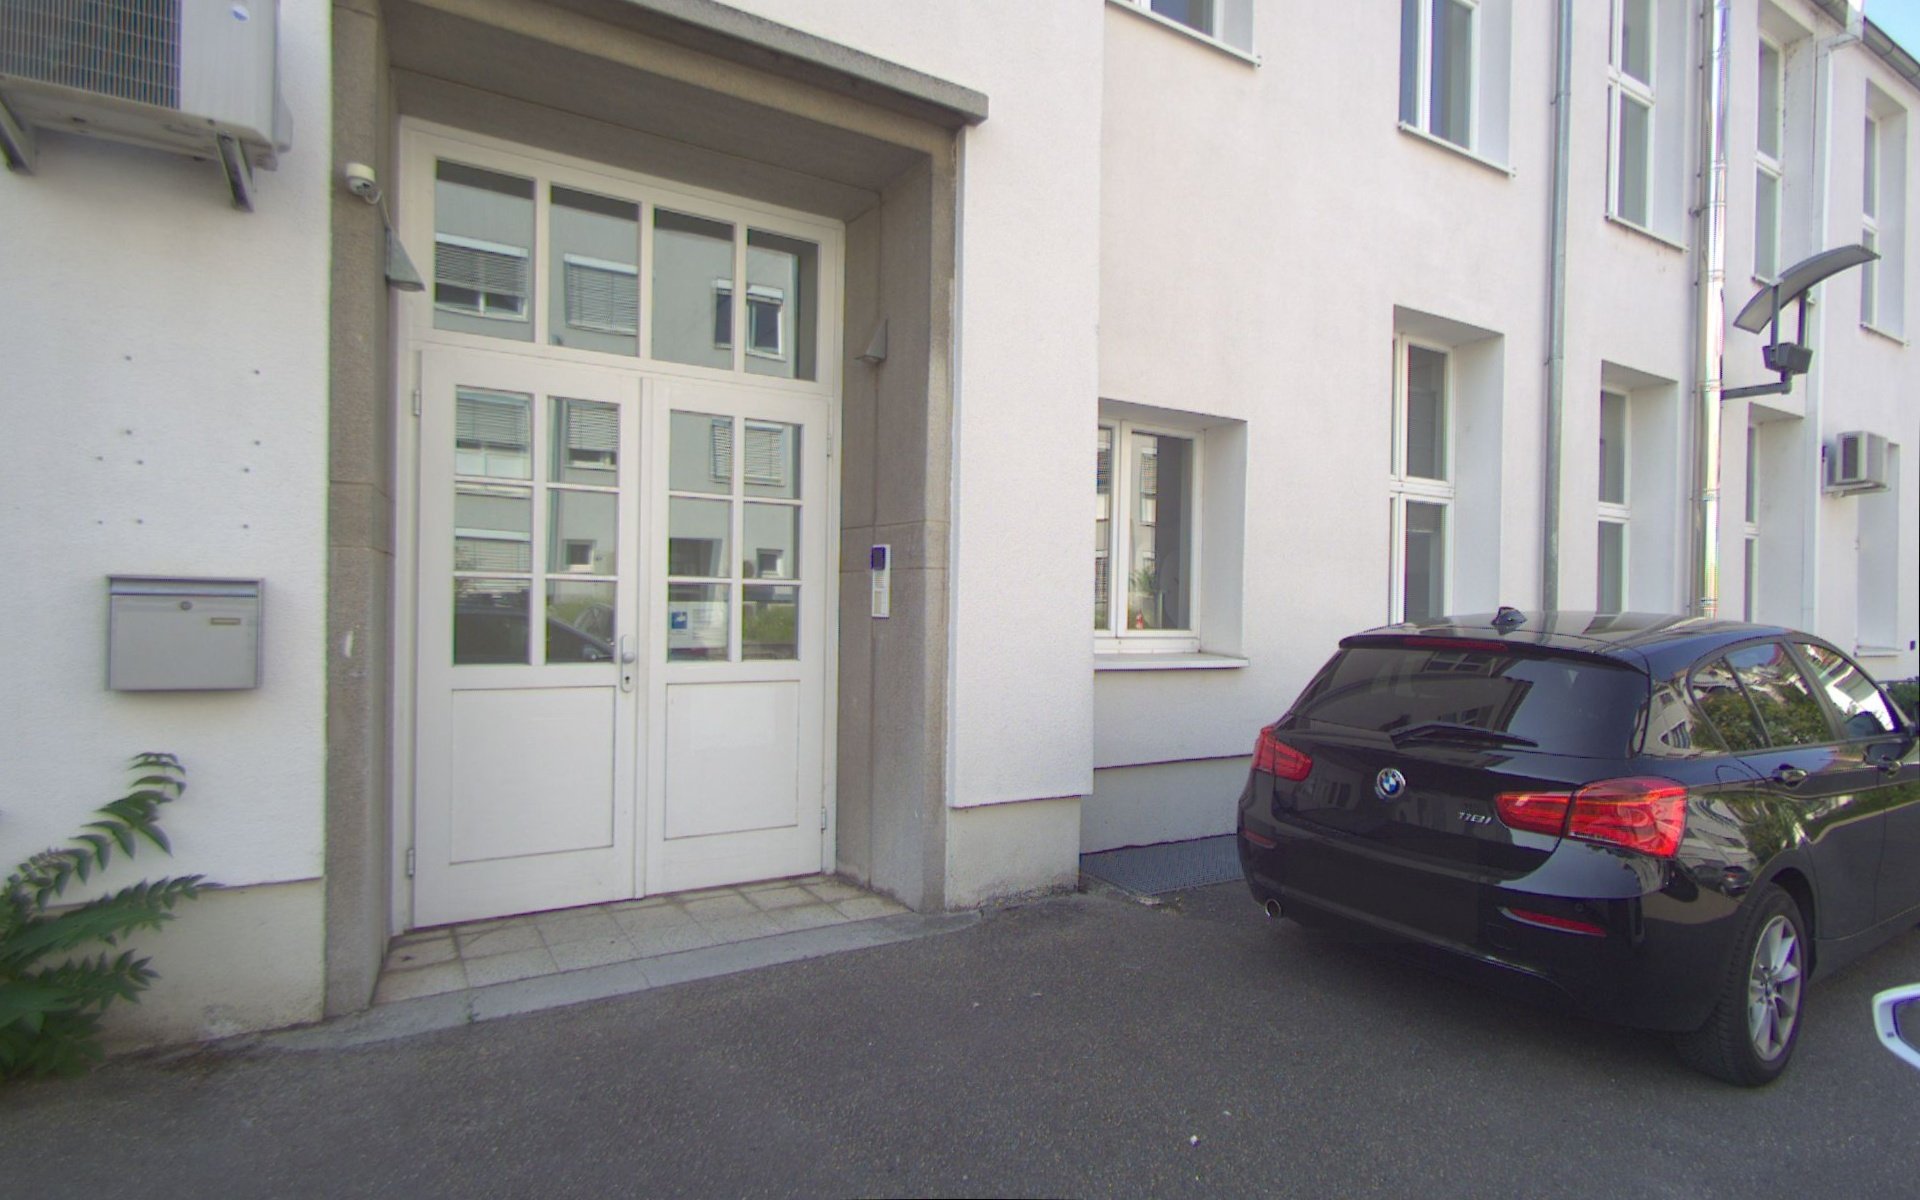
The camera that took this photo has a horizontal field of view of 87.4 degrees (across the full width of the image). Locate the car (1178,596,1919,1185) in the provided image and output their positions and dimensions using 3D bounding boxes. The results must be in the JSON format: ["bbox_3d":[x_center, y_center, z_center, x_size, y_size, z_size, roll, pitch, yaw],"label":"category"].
[{"bbox_3d":[2.946,0.783,4.314,3.881,1.478,1.678,2,0,-33],"label":"car"}]
